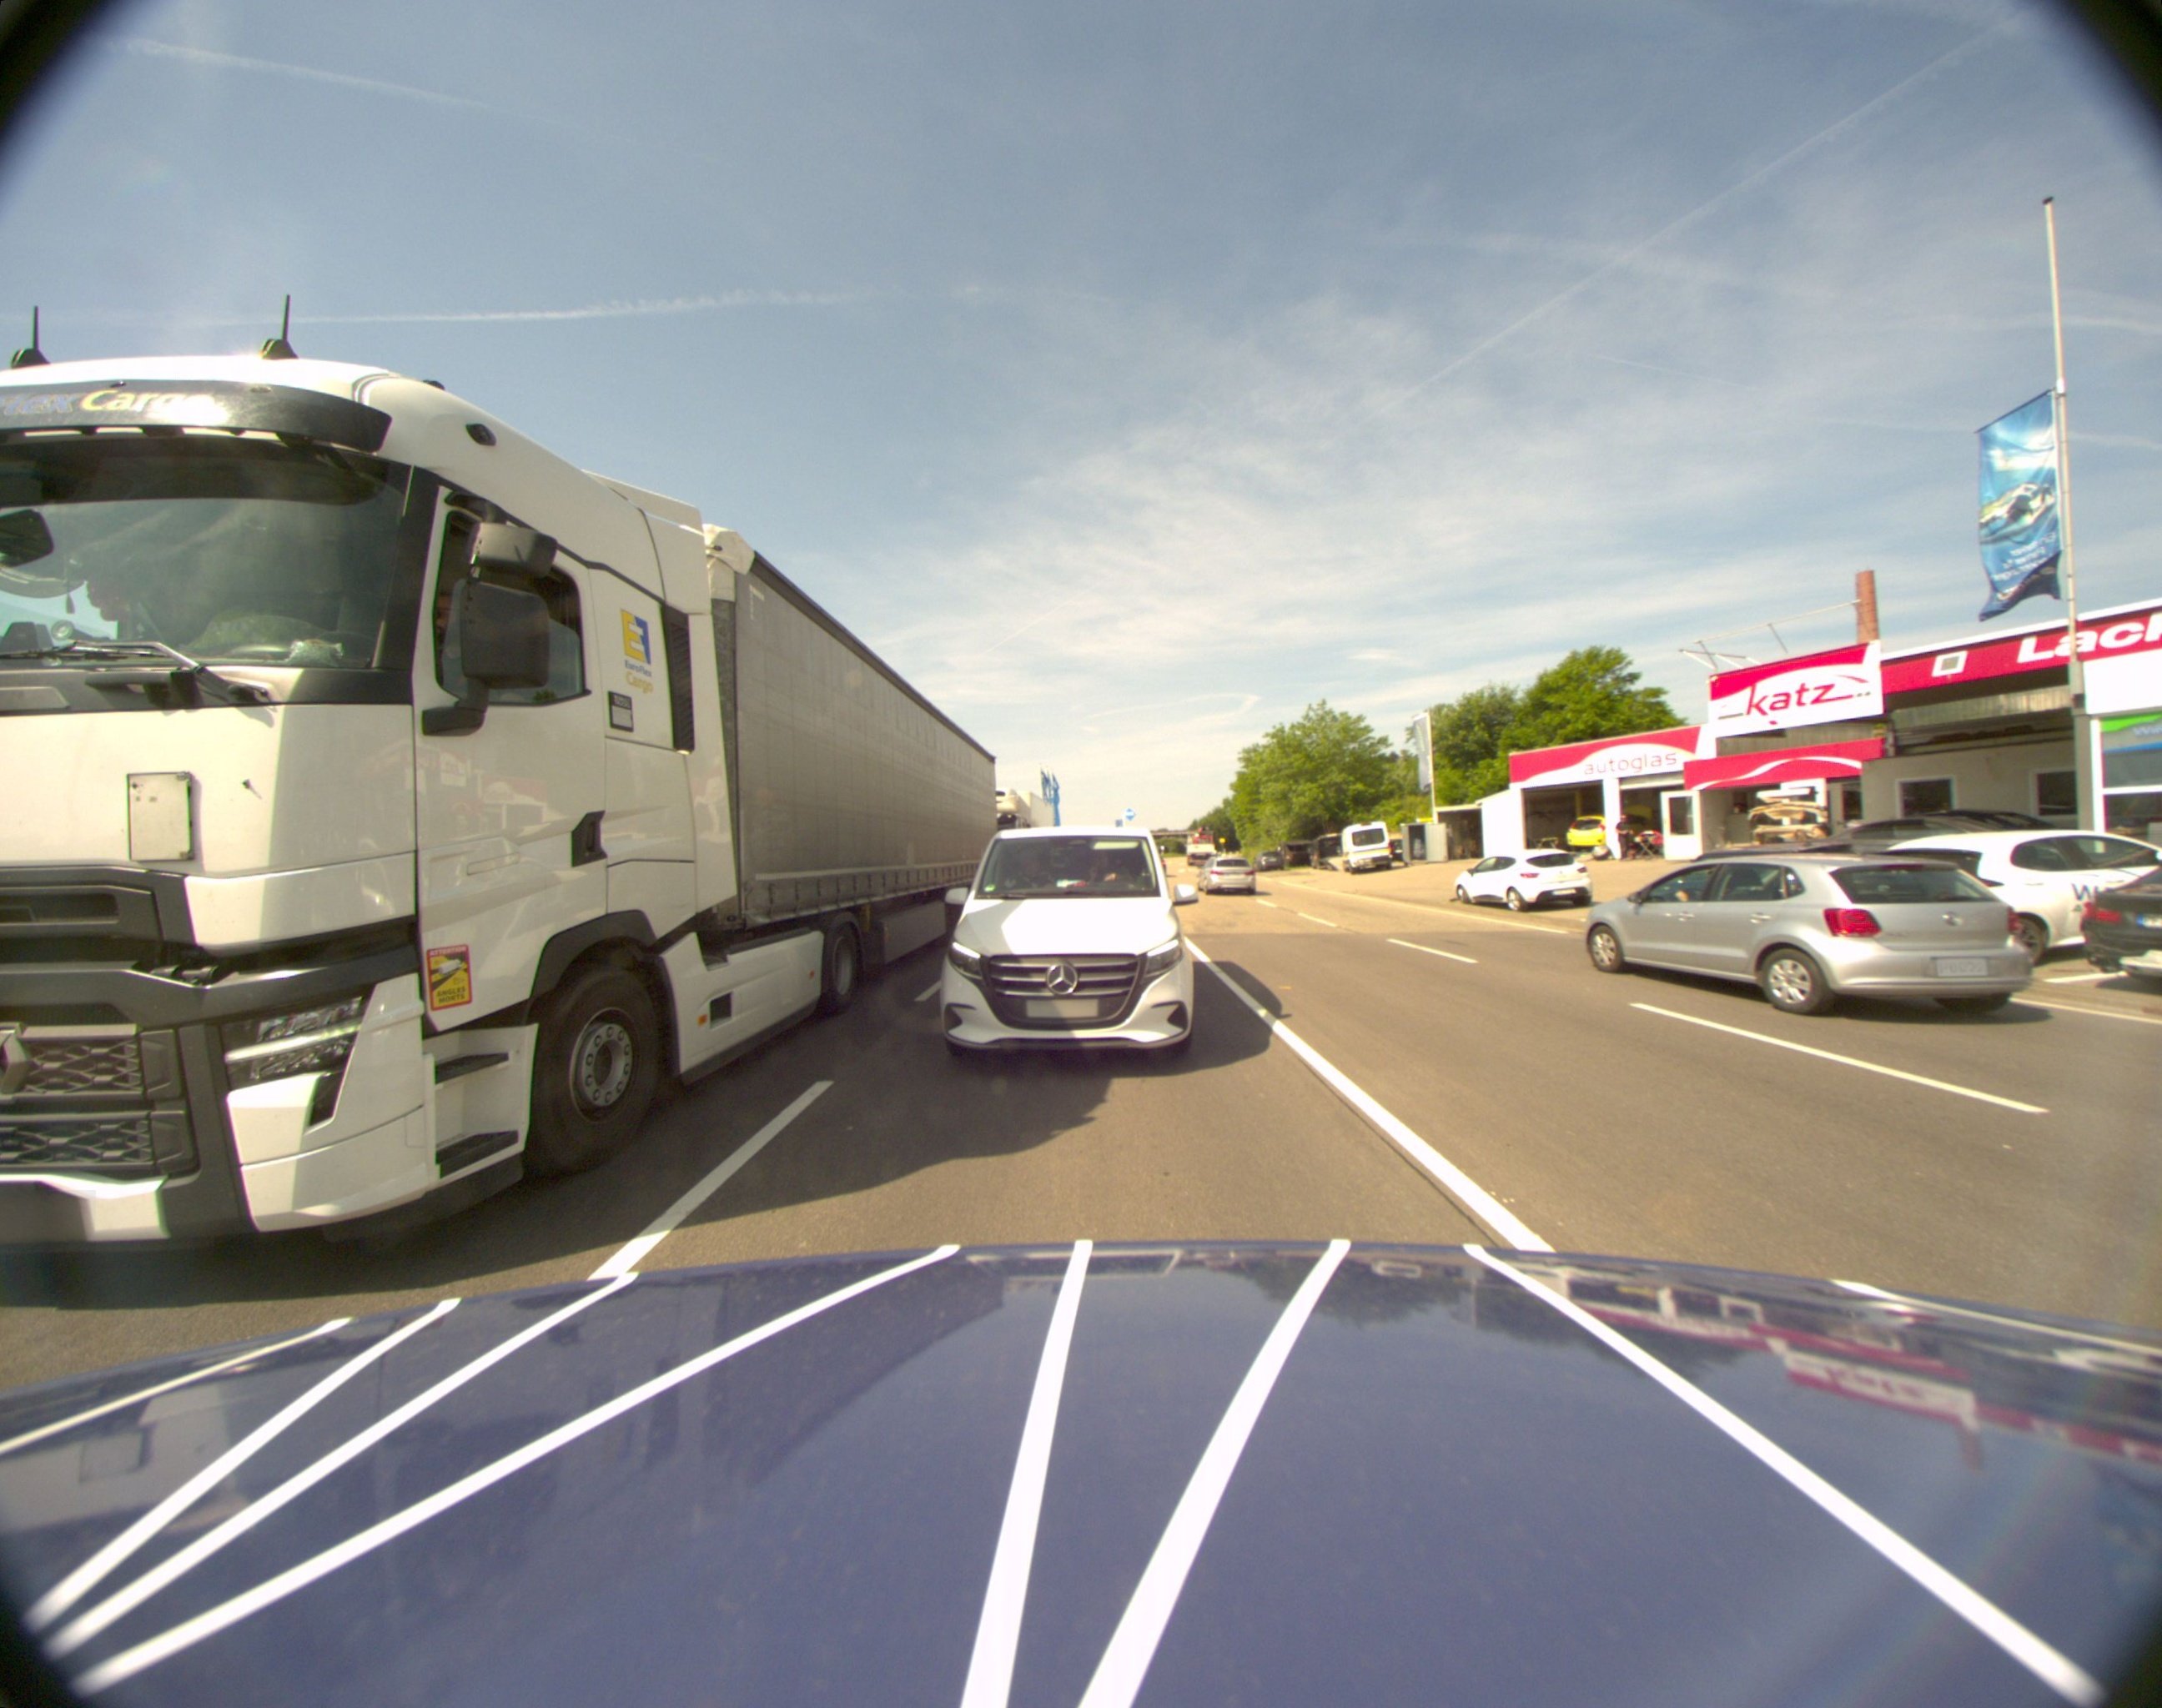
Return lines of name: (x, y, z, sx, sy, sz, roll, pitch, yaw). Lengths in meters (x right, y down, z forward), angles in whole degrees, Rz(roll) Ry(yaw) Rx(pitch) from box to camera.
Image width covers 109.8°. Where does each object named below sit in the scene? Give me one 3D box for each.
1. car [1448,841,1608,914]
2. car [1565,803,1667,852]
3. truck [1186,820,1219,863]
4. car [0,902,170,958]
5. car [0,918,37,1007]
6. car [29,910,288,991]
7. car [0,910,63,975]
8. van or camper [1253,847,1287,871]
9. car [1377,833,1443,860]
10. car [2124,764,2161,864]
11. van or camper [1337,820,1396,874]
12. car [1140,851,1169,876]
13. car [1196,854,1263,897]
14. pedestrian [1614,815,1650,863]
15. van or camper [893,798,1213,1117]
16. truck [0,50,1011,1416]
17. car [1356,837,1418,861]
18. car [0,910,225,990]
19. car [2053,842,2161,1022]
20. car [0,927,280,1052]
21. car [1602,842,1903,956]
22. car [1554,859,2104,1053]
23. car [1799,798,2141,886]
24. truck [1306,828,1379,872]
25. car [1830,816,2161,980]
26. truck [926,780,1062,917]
car: (11.207, 0.520, 19.395, 1.783, 1.608, 4.000, -3, 0, 2)
car: (22.882, -1.137, 32.519, 3.674, 1.715, 1.736, -6, 2, -21)
truck: (12.602, -1.244, 79.590, 2.962, 4.184, 10.652, 0, 0, 7)
car: (-36.777, 2.740, 27.894, 1.708, 1.608, 3.970, -3, 0, 4)
car: (-21.504, 2.114, 12.708, 1.998, 1.647, 4.282, -3, 0, 4)
car: (-21.286, 2.161, 17.790, 1.562, 1.401, 3.596, -1, 1, 3)
car: (-28.889, 2.374, 18.852, 1.707, 1.608, 3.970, -3, 0, 6)
van or camper: (13.487, 0.337, 54.514, 1.643, 1.515, 4.468, -3, 1, 5)
car: (20.789, -0.445, 48.015, 3.675, 1.521, 1.736, -3, 1, -22)
car: (20.607, -0.797, 12.499, 1.706, 1.749, 3.754, -6, 2, -25)
van or camper: (15.203, -0.403, 40.774, 2.157, 2.484, 5.956, -6, 0, 15)
car: (4.812, 0.599, 50.213, 1.810, 1.550, 4.388, -2, 0, 4)
car: (5.776, 0.784, 30.114, 1.914, 1.512, 4.782, -2, 0, 3)
pedestrian: (20.919, -0.562, 28.865, 0.724, 1.752, 0.895, -3, 1, 4)
van or camper: (-0.078, 0.681, 7.623, 1.998, 2.002, 5.291, -3, 0, 2)
truck: (-3.607, -0.355, 10.768, 2.897, 4.241, 16.710, -2, 0, 2)
car: (21.026, -0.353, 52.241, 3.673, 1.460, 1.737, -3, 1, -17)
car: (-23.430, 2.219, 18.250, 1.562, 1.401, 3.596, -1, 1, 3)
car: (11.475, 0.562, 6.620, 3.717, 1.516, 1.792, -6, 0, -2)
car: (-14.751, 1.986, 11.159, 3.669, 1.394, 1.735, -3, 0, -26)
car: (11.137, 0.651, 13.032, 1.783, 1.485, 3.782, -6, 0, 2)
car: (7.186, 0.819, 8.052, 1.841, 1.440, 4.081, -2, 0, 1)
car: (18.931, -0.171, 16.508, 1.861, 1.496, 4.389, -5, -1, -22)
truck: (16.509, -0.290, 48.567, 2.335, 2.283, 8.806, -7, 0, 7)
car: (12.191, 0.457, 9.489, 3.806, 1.516, 1.846, -6, 0, -2)
truck: (-2.619, -0.189, 27.289, 2.886, 3.789, 11.143, -2, 0, 3)
